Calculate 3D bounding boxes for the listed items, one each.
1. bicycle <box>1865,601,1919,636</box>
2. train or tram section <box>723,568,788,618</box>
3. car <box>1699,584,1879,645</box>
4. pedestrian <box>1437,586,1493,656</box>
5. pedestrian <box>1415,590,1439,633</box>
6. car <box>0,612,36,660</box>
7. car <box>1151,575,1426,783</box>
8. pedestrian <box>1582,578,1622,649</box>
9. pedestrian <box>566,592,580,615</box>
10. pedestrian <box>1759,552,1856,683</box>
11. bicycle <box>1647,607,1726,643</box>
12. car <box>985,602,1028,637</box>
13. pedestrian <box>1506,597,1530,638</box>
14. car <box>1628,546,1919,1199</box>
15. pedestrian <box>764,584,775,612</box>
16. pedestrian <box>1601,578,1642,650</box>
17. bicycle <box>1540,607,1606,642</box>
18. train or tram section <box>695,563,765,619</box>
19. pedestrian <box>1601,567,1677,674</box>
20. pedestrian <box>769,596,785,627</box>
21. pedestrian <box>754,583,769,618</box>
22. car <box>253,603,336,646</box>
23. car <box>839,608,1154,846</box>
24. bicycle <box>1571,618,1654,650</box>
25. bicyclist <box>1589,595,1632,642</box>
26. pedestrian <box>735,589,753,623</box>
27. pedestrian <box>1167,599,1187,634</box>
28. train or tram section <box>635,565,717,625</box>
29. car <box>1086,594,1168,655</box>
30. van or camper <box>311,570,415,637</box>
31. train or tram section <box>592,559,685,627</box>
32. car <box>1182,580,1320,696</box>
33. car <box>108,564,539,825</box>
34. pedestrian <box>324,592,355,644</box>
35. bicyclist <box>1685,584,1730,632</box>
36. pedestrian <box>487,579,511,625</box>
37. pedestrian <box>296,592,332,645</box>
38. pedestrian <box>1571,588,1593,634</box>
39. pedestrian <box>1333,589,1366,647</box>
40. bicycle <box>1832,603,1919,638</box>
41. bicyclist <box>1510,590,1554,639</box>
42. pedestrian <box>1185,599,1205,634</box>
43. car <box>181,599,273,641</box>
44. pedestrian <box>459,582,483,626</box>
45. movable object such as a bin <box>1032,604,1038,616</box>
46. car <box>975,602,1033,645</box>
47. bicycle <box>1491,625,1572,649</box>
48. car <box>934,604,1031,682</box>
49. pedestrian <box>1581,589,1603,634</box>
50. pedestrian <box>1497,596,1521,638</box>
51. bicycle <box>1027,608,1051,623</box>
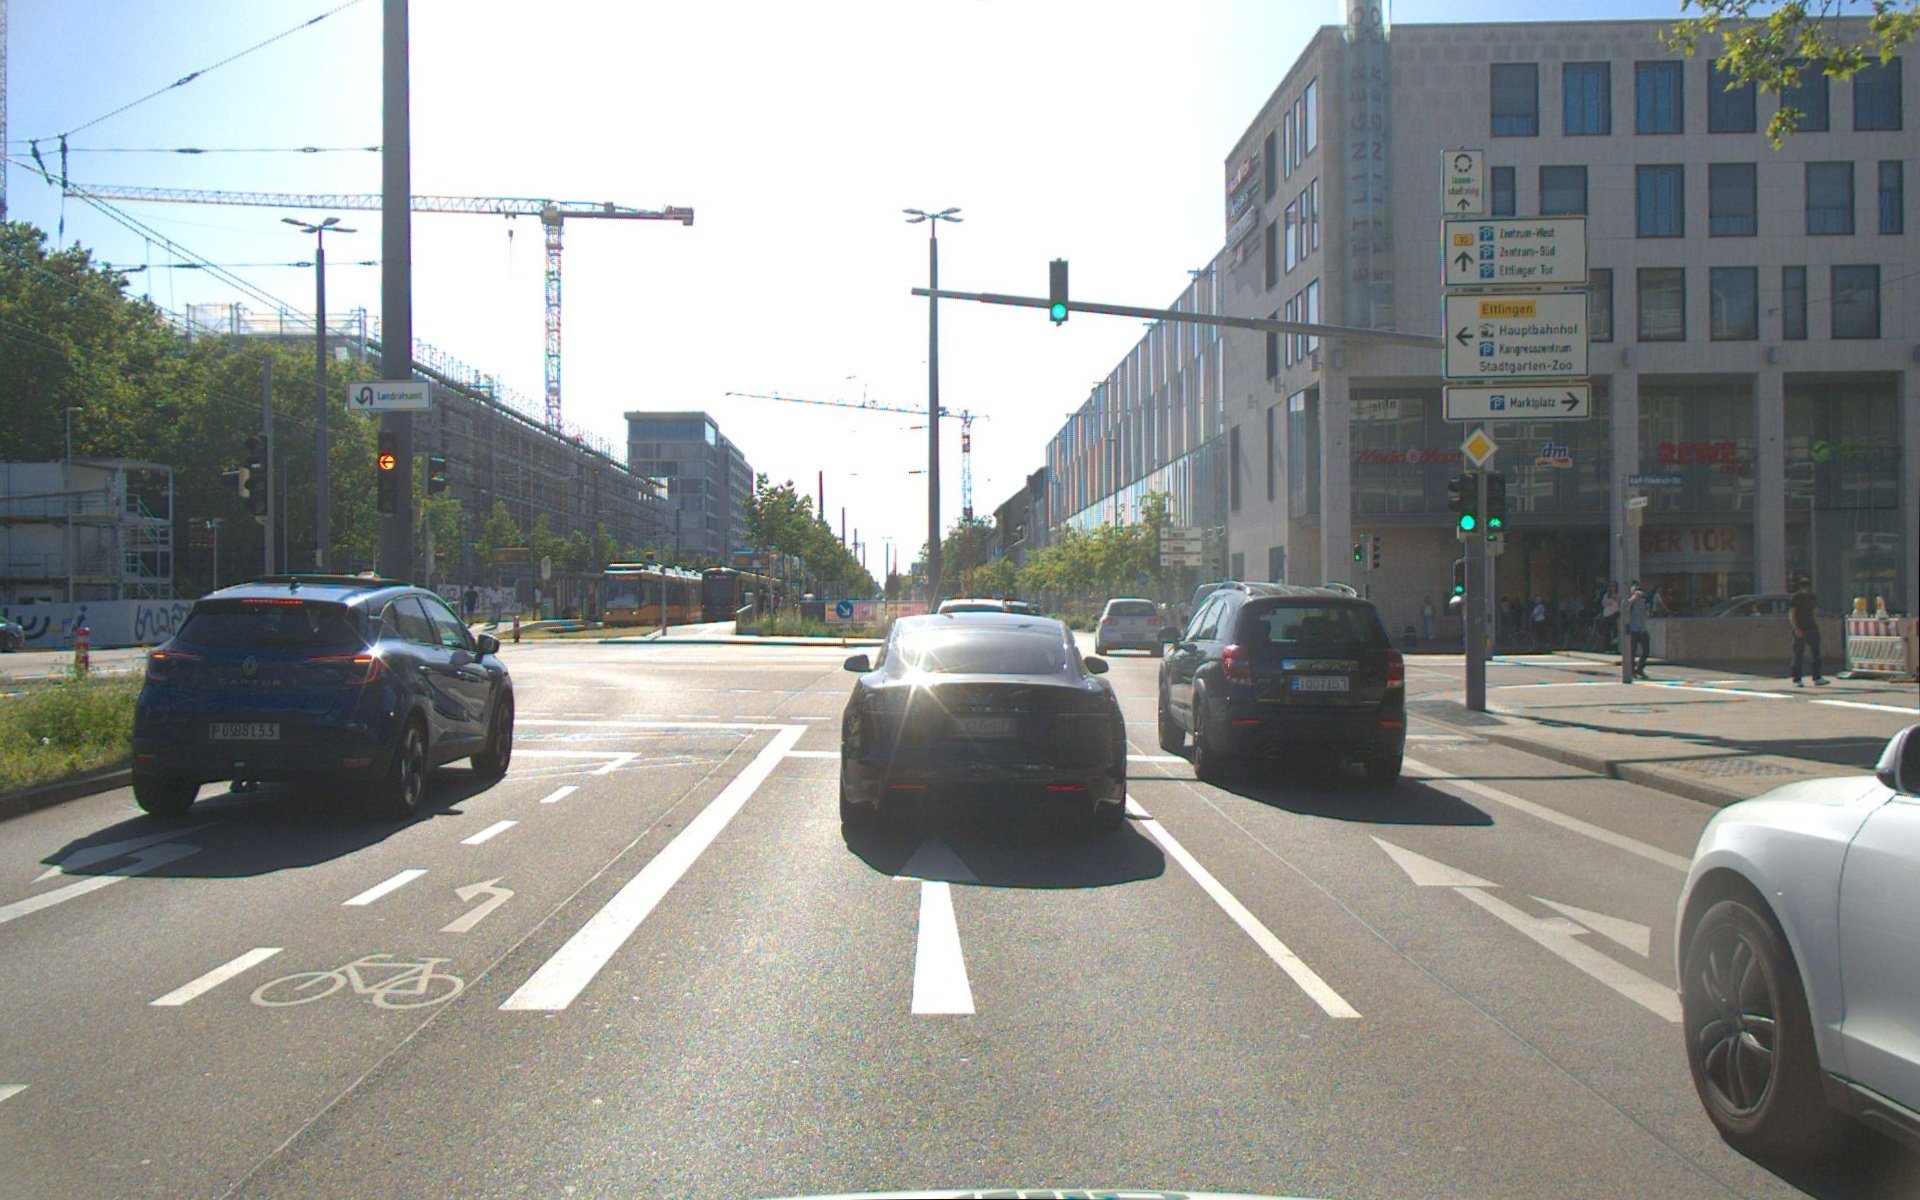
[{"bbox_3d":[30.793,0.584,53.596,1.044,1.113,3.498,0,0,1],"label":"bicycle"},{"bbox_3d":[-15.300,-0.469,125.453,2.812,3.337,22.134,2,0,-2],"label":"train or tram section"},{"bbox_3d":[23.242,0.422,46.487,4.099,1.641,1.861,-1,-2,0],"label":"car"},{"bbox_3d":[13.729,0.569,45.024,0.947,1.833,1.522,-2,0,-2],"label":"pedestrian"},{"bbox_3d":[17.898,0.447,63.387,0.732,1.636,0.556,-1,0,-3],"label":"pedestrian"},{"bbox_3d":[-34.106,1.260,56.620,1.966,1.629,3.974,-1,0,43],"label":"car"},{"bbox_3d":[2.989,0.650,15.961,1.748,1.729,4.412,0,0,-1],"label":"car"},{"bbox_3d":[15.190,0.320,39.115,0.648,1.641,0.526,-2,0,-10],"label":"pedestrian"},{"bbox_3d":[-20.922,0.195,89.370,0.658,1.248,0.505,1,-1,-5],"label":"pedestrian"},{"bbox_3d":[13.596,0.276,26.554,0.929,2.049,1.077,0,0,-9],"label":"pedestrian"},{"bbox_3d":[23.481,0.789,53.556,1.044,1.113,3.497,0,0,0],"label":"bicycle"},{"bbox_3d":[2.001,0.846,72.011,1.681,1.457,3.999,0,0,-1],"label":"car"},{"bbox_3d":[22.390,0.696,66.373,0.551,1.636,0.740,-1,1,-38],"label":"pedestrian"},{"bbox_3d":[3.128,0.699,3.305,1.782,1.641,4.412,0,0,-1],"label":"car"},{"bbox_3d":[-12.430,-0.135,108.010,0.658,1.842,1.074,-1,-1,-3],"label":"pedestrian"},{"bbox_3d":[15.413,0.328,38.554,0.648,1.641,0.526,-2,0,-10],"label":"pedestrian"},{"bbox_3d":[19.982,0.789,53.968,1.044,1.113,2.991,0,0,0],"label":"bicycle"},{"bbox_3d":[-14.690,-0.524,106.773,2.813,3.337,15.179,2,0,-2],"label":"train or tram section"},{"bbox_3d":[13.195,0.391,32.165,0.930,2.049,1.076,0,0,-13],"label":"pedestrian"},{"bbox_3d":[-9.607,0.606,86.881,0.726,1.657,0.861,0,-1,-1],"label":"pedestrian"},{"bbox_3d":[-10.314,0.007,85.876,0.689,1.806,0.958,1,0,-5],"label":"pedestrian"},{"bbox_3d":[-27.766,0.984,69.147,1.907,1.737,4.364,0,0,-3],"label":"car"},{"bbox_3d":[0.213,0.802,12.541,1.958,1.459,4.412,1,0,-1],"label":"car"},{"bbox_3d":[19.966,1.034,50.653,2.147,0.960,1.072,-1,0,2],"label":"bicycle"},{"bbox_3d":[19.924,0.562,50.650,0.913,1.420,1.077,-1,0,2],"label":"bicyclist"},{"bbox_3d":[-11.621,0.310,88.865,0.857,1.806,1.188,1,0,-5],"label":"pedestrian"},{"bbox_3d":[10.514,0.799,80.209,0.805,1.687,0.899,0,0,-6],"label":"pedestrian"},{"bbox_3d":[-17.632,-0.311,103.904,2.790,3.379,15.960,2,0,-2],"label":"train or tram section"},{"bbox_3d":[4.433,0.623,44.441,1.748,1.573,4.038,0,0,-1],"label":"car"},{"bbox_3d":[-27.996,0.148,77.939,2.553,2.988,7.337,0,0,-3],"label":"van or camper"},{"bbox_3d":[-17.192,-0.336,89.416,2.813,3.367,13.067,2,0,-2],"label":"train or tram section"},{"bbox_3d":[4.907,0.573,27.495,1.747,1.764,4.165,0,0,17],"label":"car"},{"bbox_3d":[-4.544,0.604,12.507,1.734,1.616,4.087,1,0,-2],"label":"car"},{"bbox_3d":[-22.363,0.658,59.660,0.784,1.855,0.975,0,0,-4],"label":"pedestrian"},{"bbox_3d":[22.877,0.240,50.628,0.913,1.458,1.041,-1,0,2],"label":"bicyclist"},{"bbox_3d":[-19.004,0.083,68.217,0.784,1.855,0.975,0,0,-4],"label":"pedestrian"},{"bbox_3d":[-22.603,0.635,57.862,0.785,1.855,0.880,0,0,30],"label":"pedestrian"},{"bbox_3d":[24.916,0.433,66.230,0.551,1.793,0.641,-1,1,-38],"label":"pedestrian"},{"bbox_3d":[12.597,0.575,53.506,0.713,1.833,1.066,-2,0,-2],"label":"pedestrian"},{"bbox_3d":[29.635,0.643,53.523,1.044,1.113,3.498,0,0,1],"label":"bicycle"},{"bbox_3d":[17.542,0.442,50.726,1.000,1.502,1.072,-1,0,2],"label":"bicyclist"},{"bbox_3d":[11.370,0.788,79.981,0.693,1.687,0.899,-2,0,-6],"label":"pedestrian"},{"bbox_3d":[-31.256,0.841,70.632,1.953,1.737,4.559,0,0,-1],"label":"car"},{"bbox_3d":[-20.640,0.155,69.855,0.784,1.855,0.975,0,0,-4],"label":"pedestrian"},{"bbox_3d":[8.095,1.070,178.369,0.547,1.190,0.562,1,-1,2],"label":"movable object such as a bin"},{"bbox_3d":[1.384,0.731,53.423,1.681,1.343,3.999,0,0,-1],"label":"car"},{"bbox_3d":[17.509,1.126,50.711,2.147,0.683,1.072,-1,0,2],"label":"bicycle"},{"bbox_3d":[0.356,0.755,30.849,1.681,1.343,3.999,0,0,-1],"label":"car"},{"bbox_3d":[25.519,0.468,66.747,0.551,1.793,0.641,-1,1,-38],"label":"pedestrian"},{"bbox_3d":[21.887,0.680,65.954,0.551,1.636,0.740,-1,1,-38],"label":"pedestrian"},{"bbox_3d":[6.596,1.251,137.339,1.848,1.171,0.669,-2,0,-12],"label":"bicycle"}]
